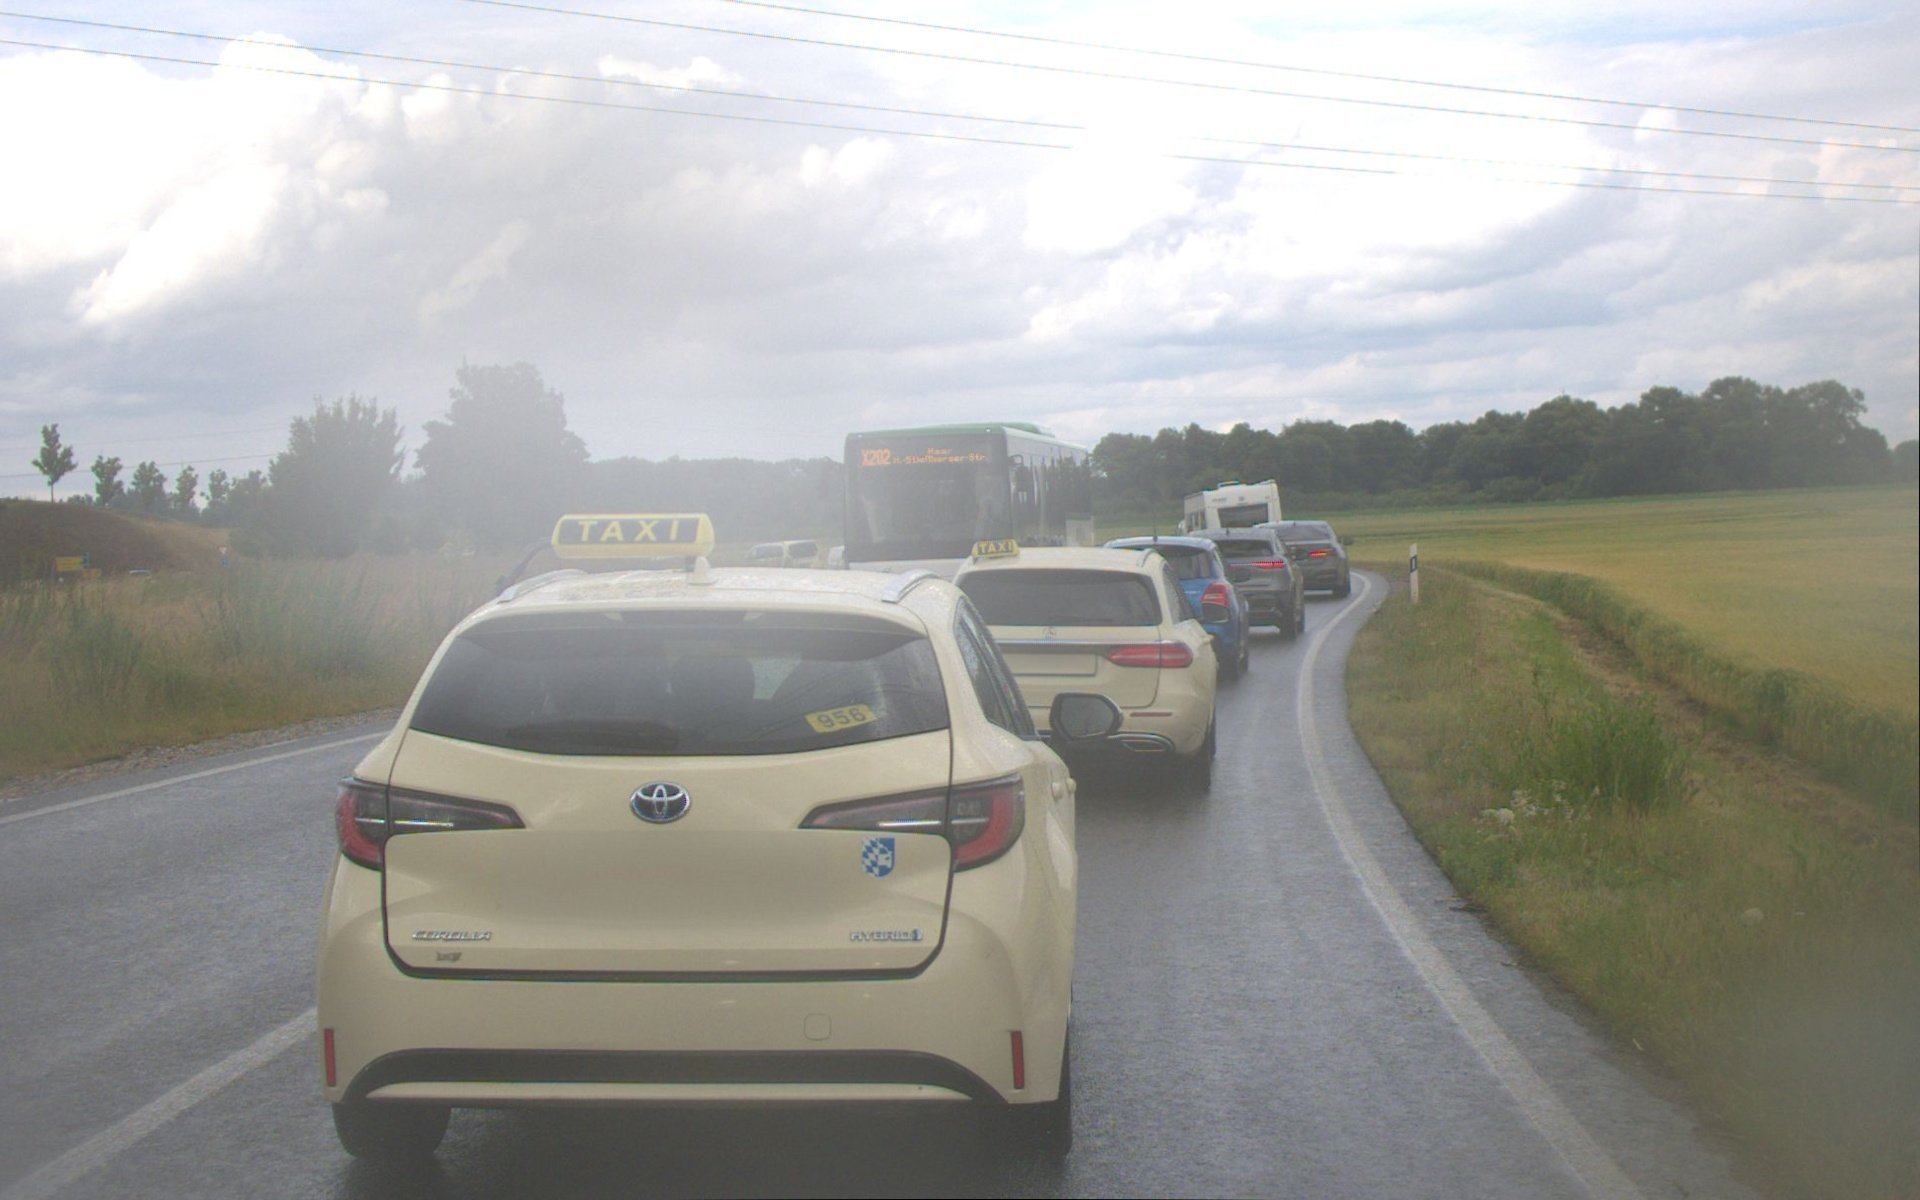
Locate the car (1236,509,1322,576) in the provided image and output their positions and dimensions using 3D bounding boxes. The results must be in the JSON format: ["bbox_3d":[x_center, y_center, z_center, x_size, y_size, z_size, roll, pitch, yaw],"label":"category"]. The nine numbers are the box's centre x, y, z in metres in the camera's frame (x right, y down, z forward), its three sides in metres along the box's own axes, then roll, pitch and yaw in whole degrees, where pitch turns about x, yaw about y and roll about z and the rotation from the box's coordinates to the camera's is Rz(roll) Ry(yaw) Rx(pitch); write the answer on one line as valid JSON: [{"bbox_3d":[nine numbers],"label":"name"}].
[{"bbox_3d":[8.473,-1.508,91.517,1.960,1.723,3.738,0,0,1],"label":"car"}]

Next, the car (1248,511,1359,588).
[{"bbox_3d":[6.668,-0.953,66.376,1.960,1.408,4.391,0,0,8],"label":"car"}]

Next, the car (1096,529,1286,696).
[{"bbox_3d":[2.470,0.120,36.069,1.613,1.653,3.737,0,0,10],"label":"car"}]

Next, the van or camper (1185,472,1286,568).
[{"bbox_3d":[8.501,-2.471,106.672,2.536,2.886,6.743,0,1,-1],"label":"van or camper"}]

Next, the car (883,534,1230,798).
[{"bbox_3d":[0.724,0.327,21.846,1.841,1.487,4.607,0,1,6],"label":"car"}]

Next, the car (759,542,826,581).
[{"bbox_3d":[-7.761,-1.771,158.716,1.882,1.767,4.161,0,0,-21],"label":"car"}]

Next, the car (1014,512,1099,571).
[{"bbox_3d":[2.186,-1.294,77.207,1.719,1.247,3.999,0,0,4],"label":"car"}]

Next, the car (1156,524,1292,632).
[{"bbox_3d":[3.643,-0.291,47.000,1.613,1.408,3.737,0,0,8],"label":"car"}]

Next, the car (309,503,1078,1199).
[{"bbox_3d":[-0.500,0.577,9.103,1.613,1.557,3.738,0,0,2],"label":"car"}]

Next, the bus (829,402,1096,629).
[{"bbox_3d":[0.275,-1.341,55.999,2.759,3.286,12.499,0,1,7],"label":"bus"}]
